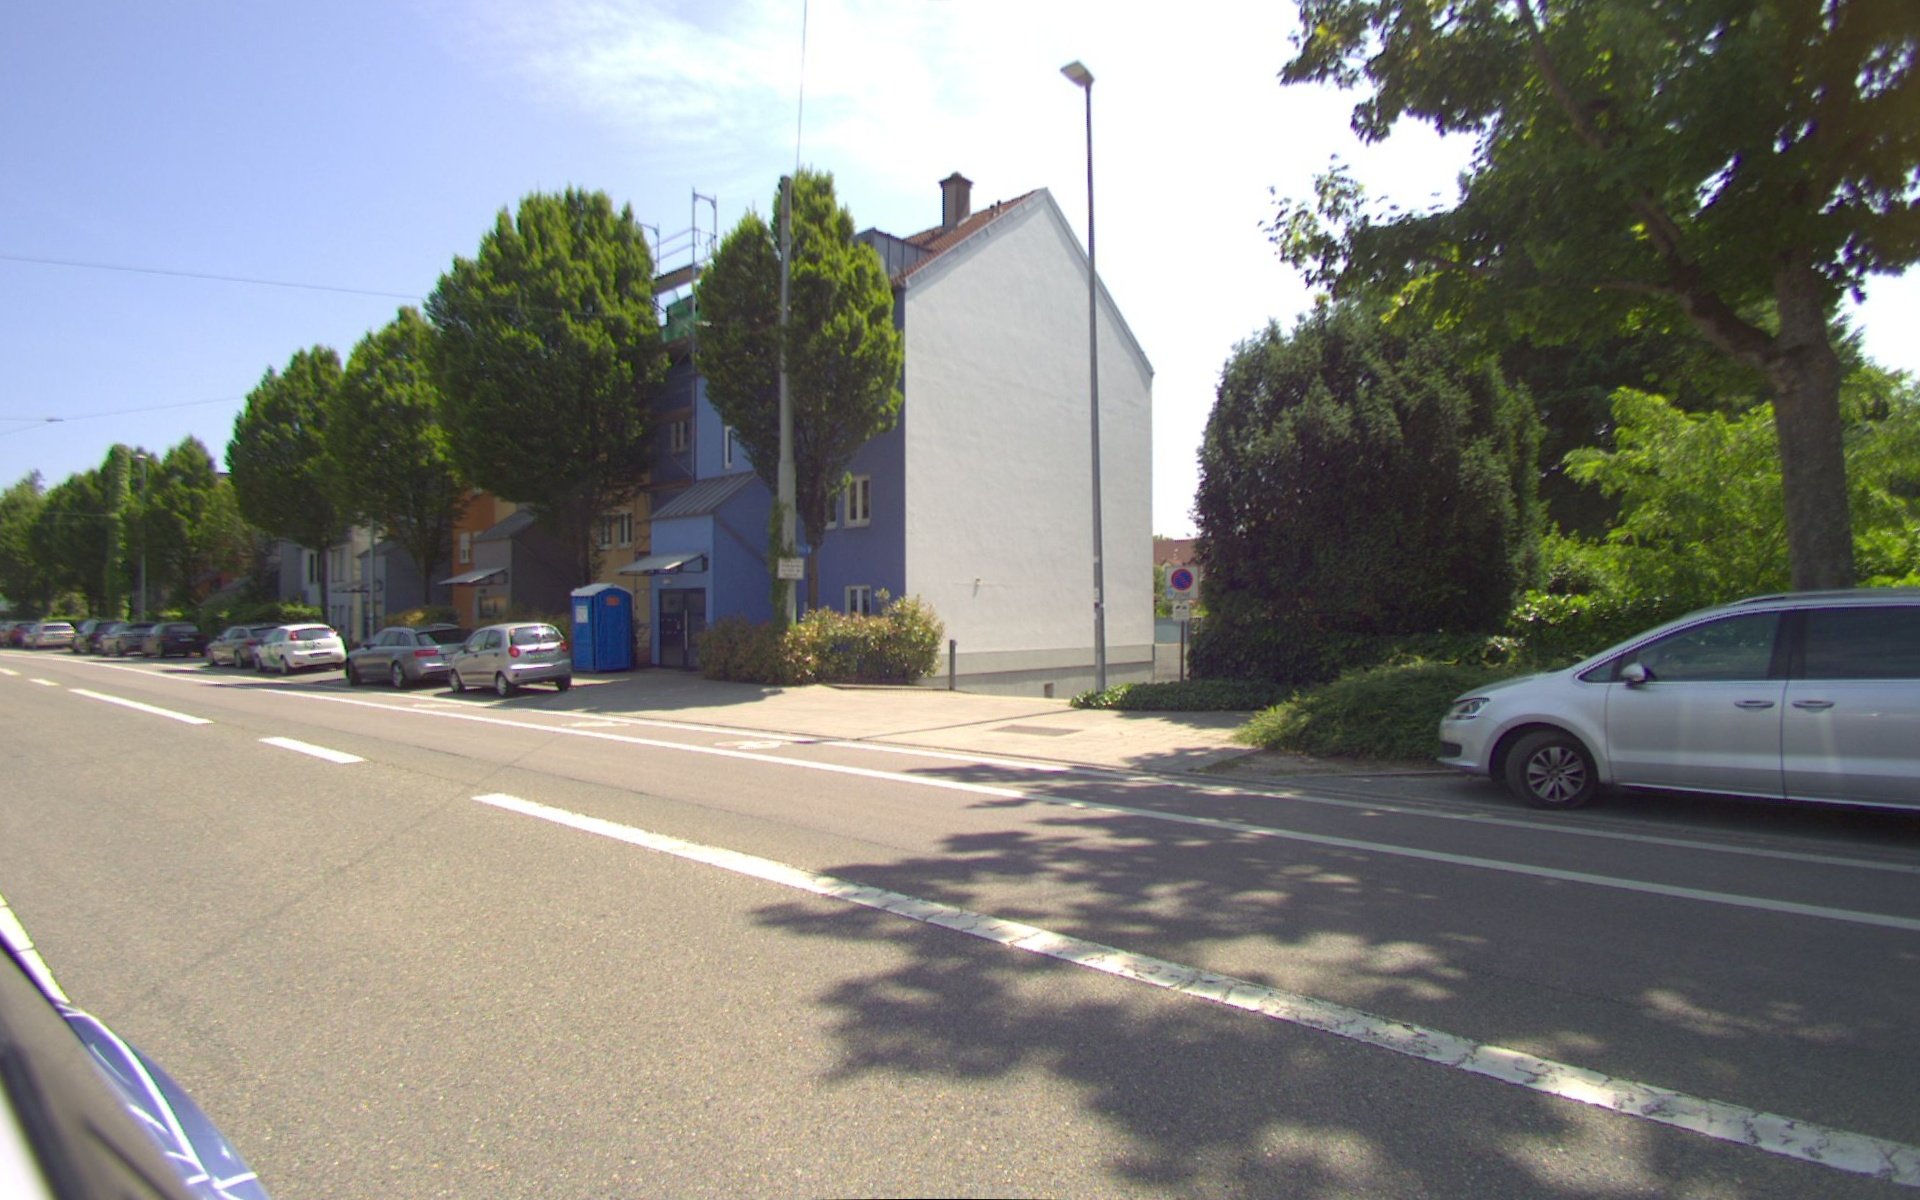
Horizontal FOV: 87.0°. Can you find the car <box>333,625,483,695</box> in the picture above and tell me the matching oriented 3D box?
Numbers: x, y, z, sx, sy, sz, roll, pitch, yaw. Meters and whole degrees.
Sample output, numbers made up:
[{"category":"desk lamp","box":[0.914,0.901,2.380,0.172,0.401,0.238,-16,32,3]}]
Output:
[{"category":"car","box":[-13.886,1.435,25.334,4.635,1.507,1.659,-1,2,40]}]

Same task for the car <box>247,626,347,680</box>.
[{"category":"car","box":[-21.109,1.628,32.187,3.646,1.507,1.635,-1,2,40]}]

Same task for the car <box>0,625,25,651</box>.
[{"category":"car","box":[-59.981,2.388,63.237,3.467,1.507,1.842,-1,2,40]}]

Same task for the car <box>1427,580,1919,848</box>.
[{"category":"car","box":[6.287,0.729,7.581,4.687,1.701,1.949,-1,-1,43]}]

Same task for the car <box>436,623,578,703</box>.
[{"category":"car","box":[-9.944,1.328,22.123,3.279,1.507,1.487,-1,2,40]}]

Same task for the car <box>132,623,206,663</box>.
[{"category":"car","box":[-33.816,1.814,43.219,4.079,1.507,1.635,-1,2,40]}]

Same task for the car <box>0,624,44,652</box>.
[{"category":"car","box":[-56.155,2.251,60.280,3.467,1.507,1.842,-1,2,40]}]

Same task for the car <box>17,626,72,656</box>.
[{"category":"car","box":[-51.451,2.259,56.849,4.079,1.507,1.702,-1,2,40]}]

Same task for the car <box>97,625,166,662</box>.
[{"category":"car","box":[-37.641,1.940,45.968,4.079,1.507,1.635,-1,2,40]}]

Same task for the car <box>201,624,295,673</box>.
[{"category":"car","box":[-25.060,1.665,35.571,4.079,1.507,1.635,-1,2,40]}]

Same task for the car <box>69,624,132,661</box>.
[{"category":"car","box":[-42.344,2.068,49.854,4.079,1.599,1.635,-1,2,40]}]
